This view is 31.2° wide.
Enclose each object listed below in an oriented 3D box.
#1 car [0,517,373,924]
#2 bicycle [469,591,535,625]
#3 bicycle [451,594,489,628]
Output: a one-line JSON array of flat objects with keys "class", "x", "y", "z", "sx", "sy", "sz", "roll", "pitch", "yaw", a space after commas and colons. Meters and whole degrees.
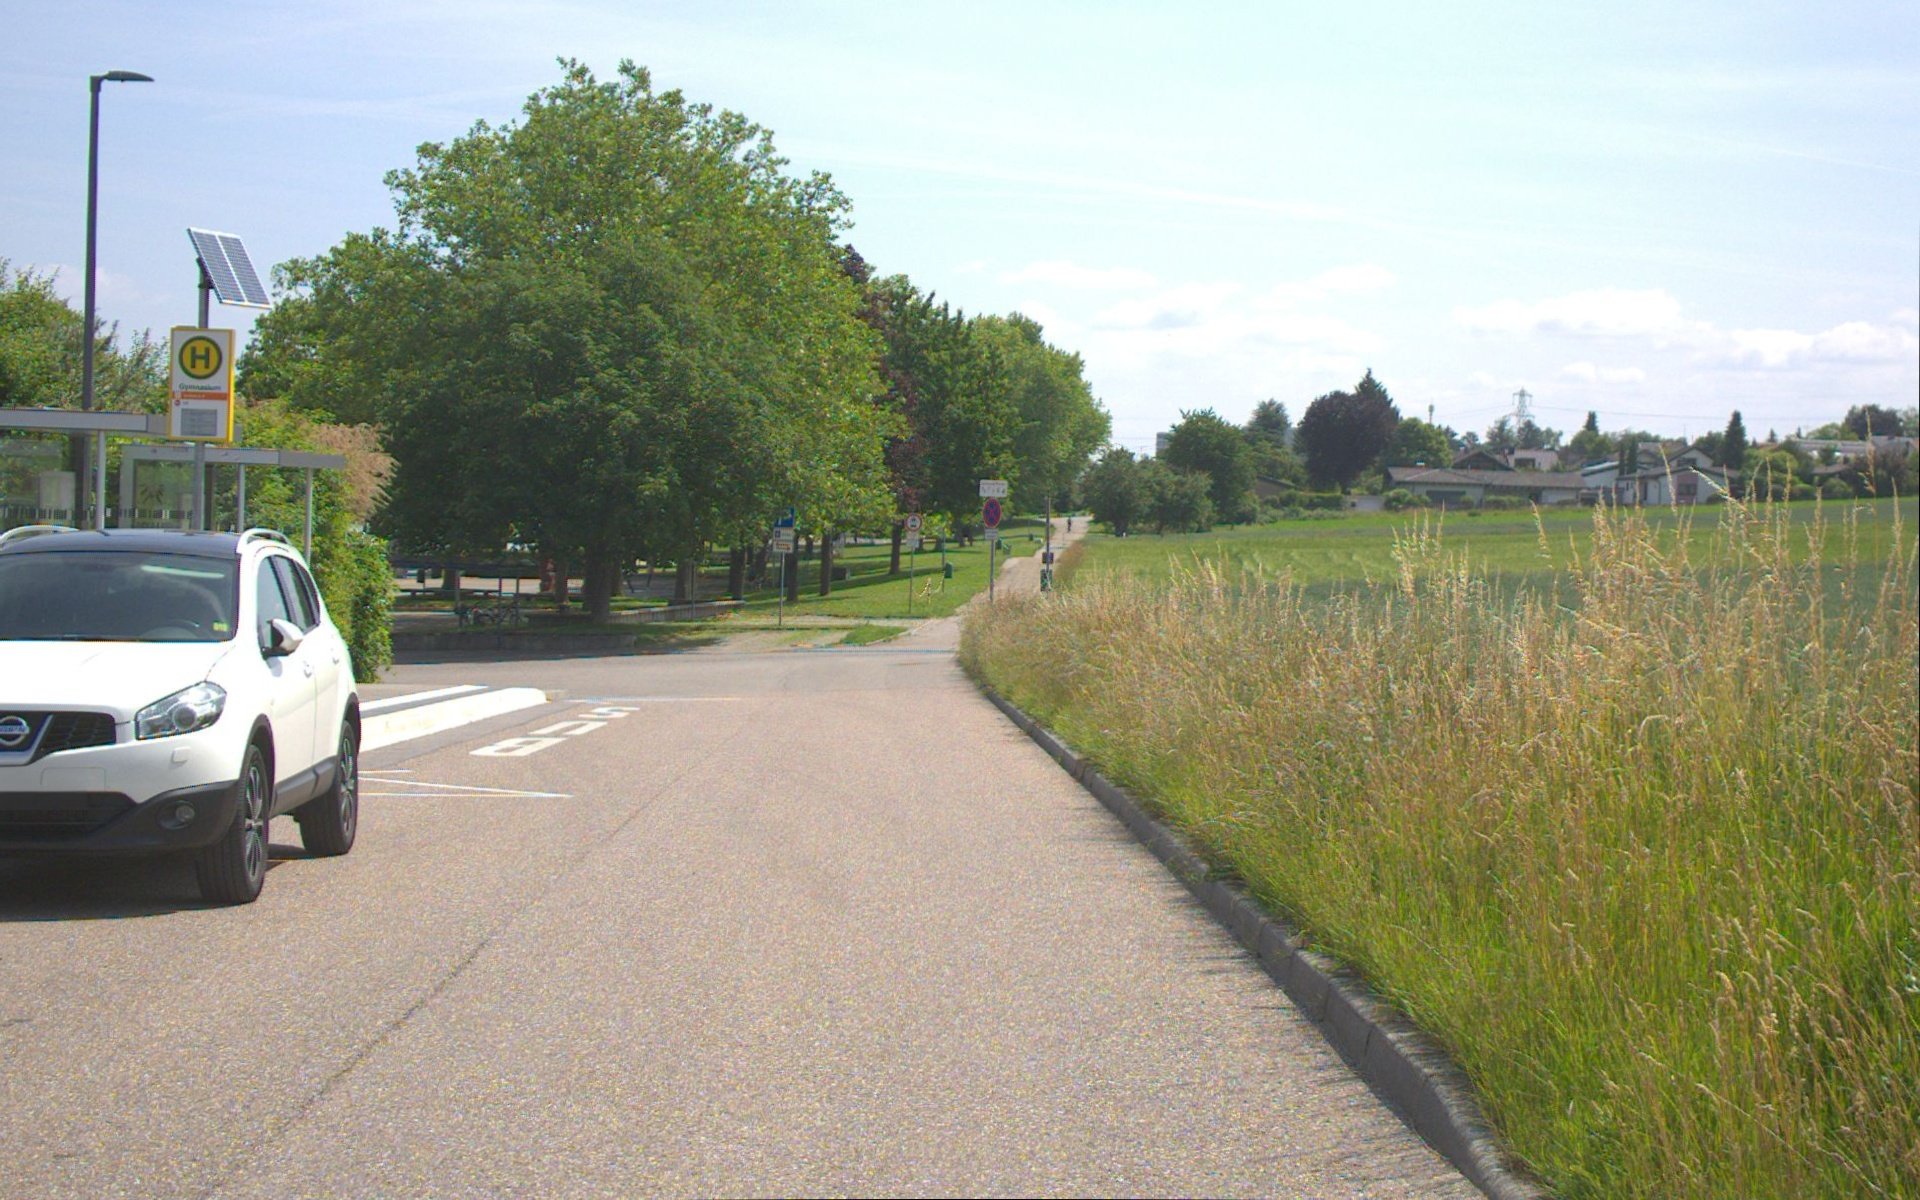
[{"class": "car", "x": -3.912, "y": 0.470, "z": 16.004, "sx": 1.734, "sy": 1.628, "sz": 4.353, "roll": 1, "pitch": 0, "yaw": -2}, {"class": "bicycle", "x": -14.585, "y": 0.261, "z": 109.493, "sx": 2.062, "sy": 1.035, "sz": 0.572, "roll": -1, "pitch": 1, "yaw": -6}, {"class": "bicycle", "x": -15.297, "y": 0.340, "z": 107.370, "sx": 0.595, "sy": 1.035, "sz": 1.892, "roll": 0, "pitch": 1, "yaw": 9}]
